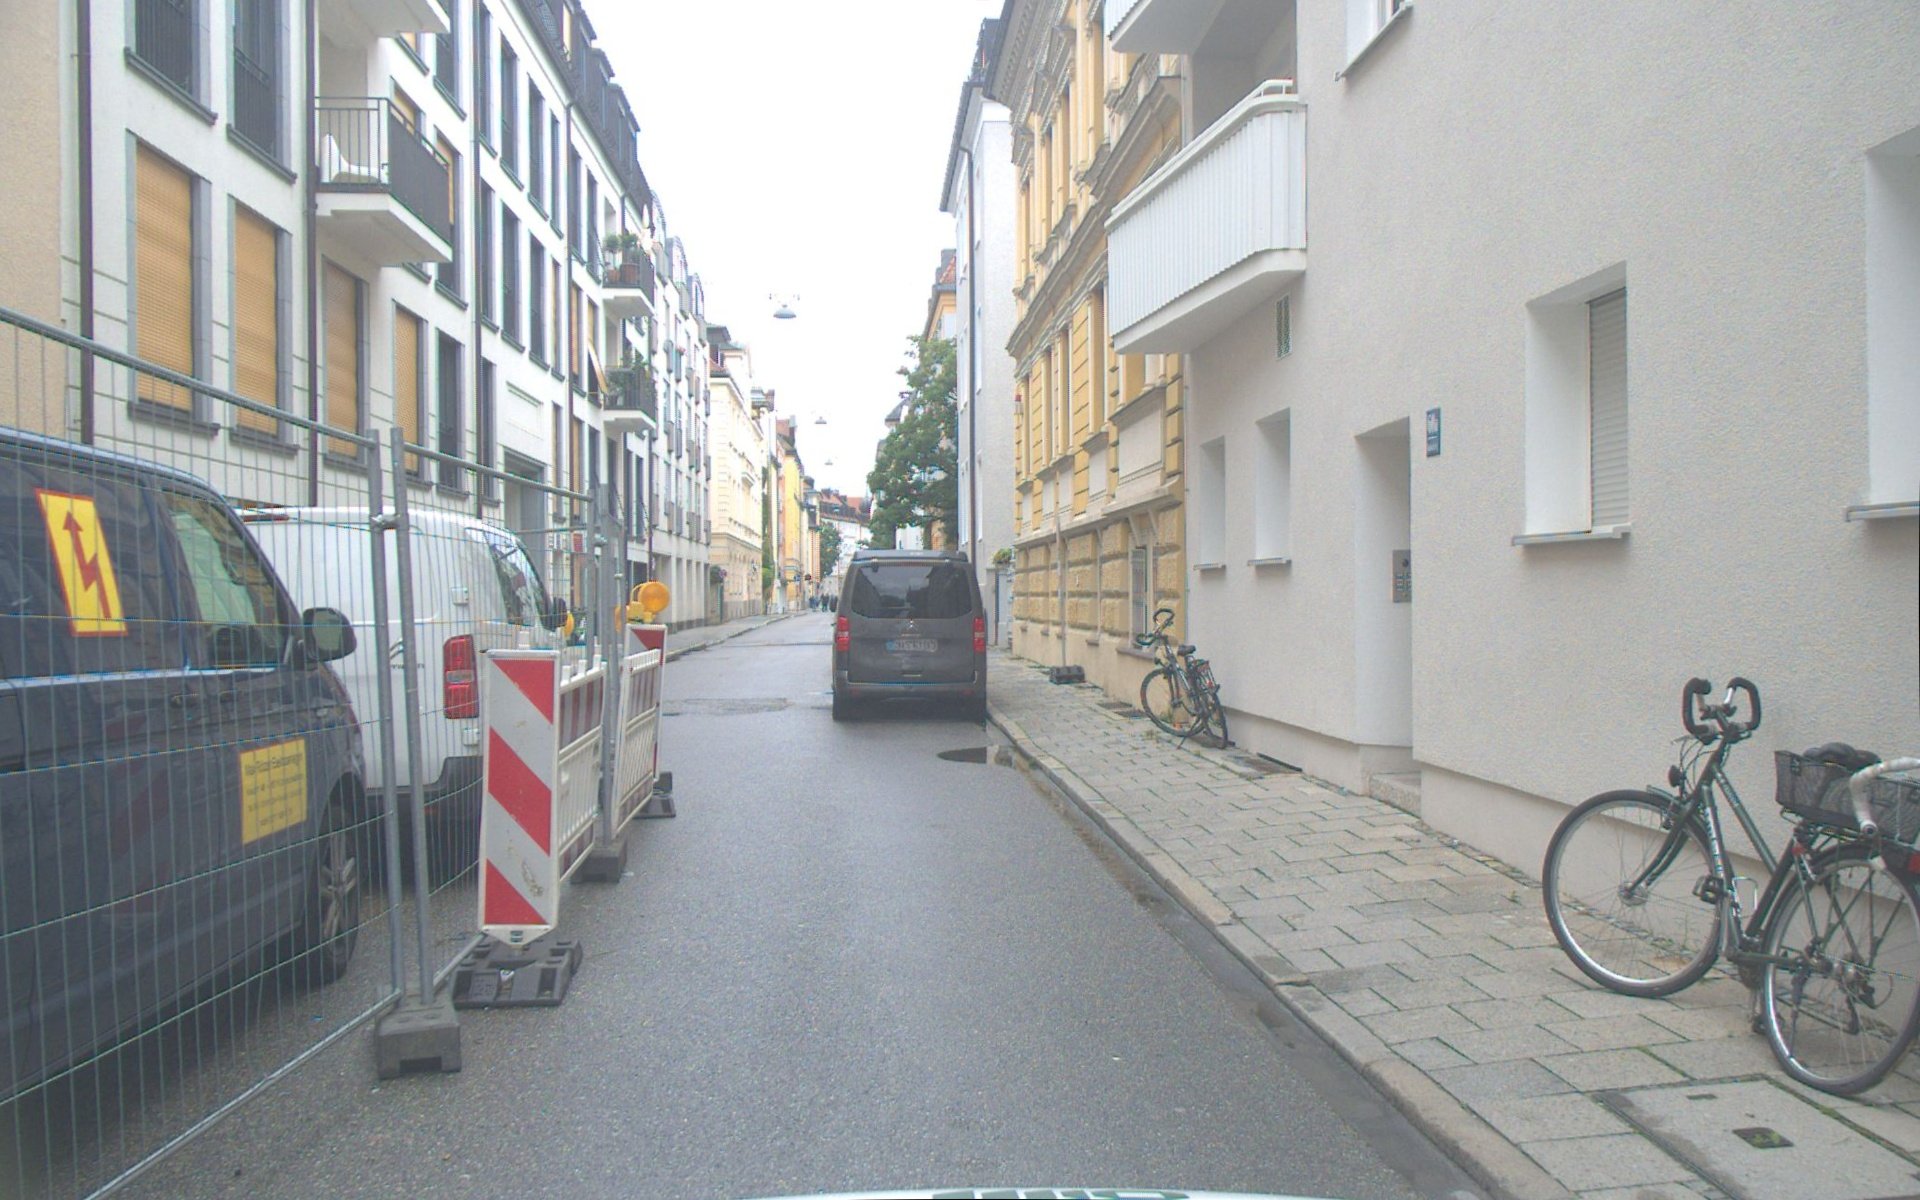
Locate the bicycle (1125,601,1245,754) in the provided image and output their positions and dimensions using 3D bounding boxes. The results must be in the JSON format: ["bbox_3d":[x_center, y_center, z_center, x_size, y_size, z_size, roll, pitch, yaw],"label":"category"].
[{"bbox_3d":[1.930,0.632,14.437,0.625,1.173,1.914,-3,1,-3],"label":"bicycle"}]

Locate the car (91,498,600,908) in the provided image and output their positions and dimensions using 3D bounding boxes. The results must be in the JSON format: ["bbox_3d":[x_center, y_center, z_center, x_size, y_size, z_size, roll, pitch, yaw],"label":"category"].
[{"bbox_3d":[-3.483,0.483,10.469,1.868,1.930,5.081,-1,0,-7],"label":"car"}]

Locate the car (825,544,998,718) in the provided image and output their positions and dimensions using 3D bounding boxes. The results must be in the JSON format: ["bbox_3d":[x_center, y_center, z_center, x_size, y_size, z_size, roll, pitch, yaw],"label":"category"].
[{"bbox_3d":[-0.725,0.342,21.099,1.954,1.965,4.655,1,0,-5],"label":"car"}]

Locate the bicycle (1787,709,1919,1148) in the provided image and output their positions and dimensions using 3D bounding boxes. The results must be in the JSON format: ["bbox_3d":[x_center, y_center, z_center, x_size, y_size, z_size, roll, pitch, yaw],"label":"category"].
[{"bbox_3d":[2.482,0.842,4.117,0.275,1.009,1.435,-4,0,9],"label":"bicycle"}]

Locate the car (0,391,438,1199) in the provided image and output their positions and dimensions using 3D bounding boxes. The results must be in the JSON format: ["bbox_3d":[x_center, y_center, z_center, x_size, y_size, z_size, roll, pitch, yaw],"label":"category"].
[{"bbox_3d":[-3.055,0.528,4.661,1.693,1.930,5.504,-3,0,-4],"label":"car"}]

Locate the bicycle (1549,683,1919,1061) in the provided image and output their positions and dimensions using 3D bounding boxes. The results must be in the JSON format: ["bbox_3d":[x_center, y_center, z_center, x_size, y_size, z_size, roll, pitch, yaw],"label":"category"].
[{"bbox_3d":[2.528,0.819,5.464,0.397,1.009,1.325,-4,0,-12],"label":"bicycle"}]
